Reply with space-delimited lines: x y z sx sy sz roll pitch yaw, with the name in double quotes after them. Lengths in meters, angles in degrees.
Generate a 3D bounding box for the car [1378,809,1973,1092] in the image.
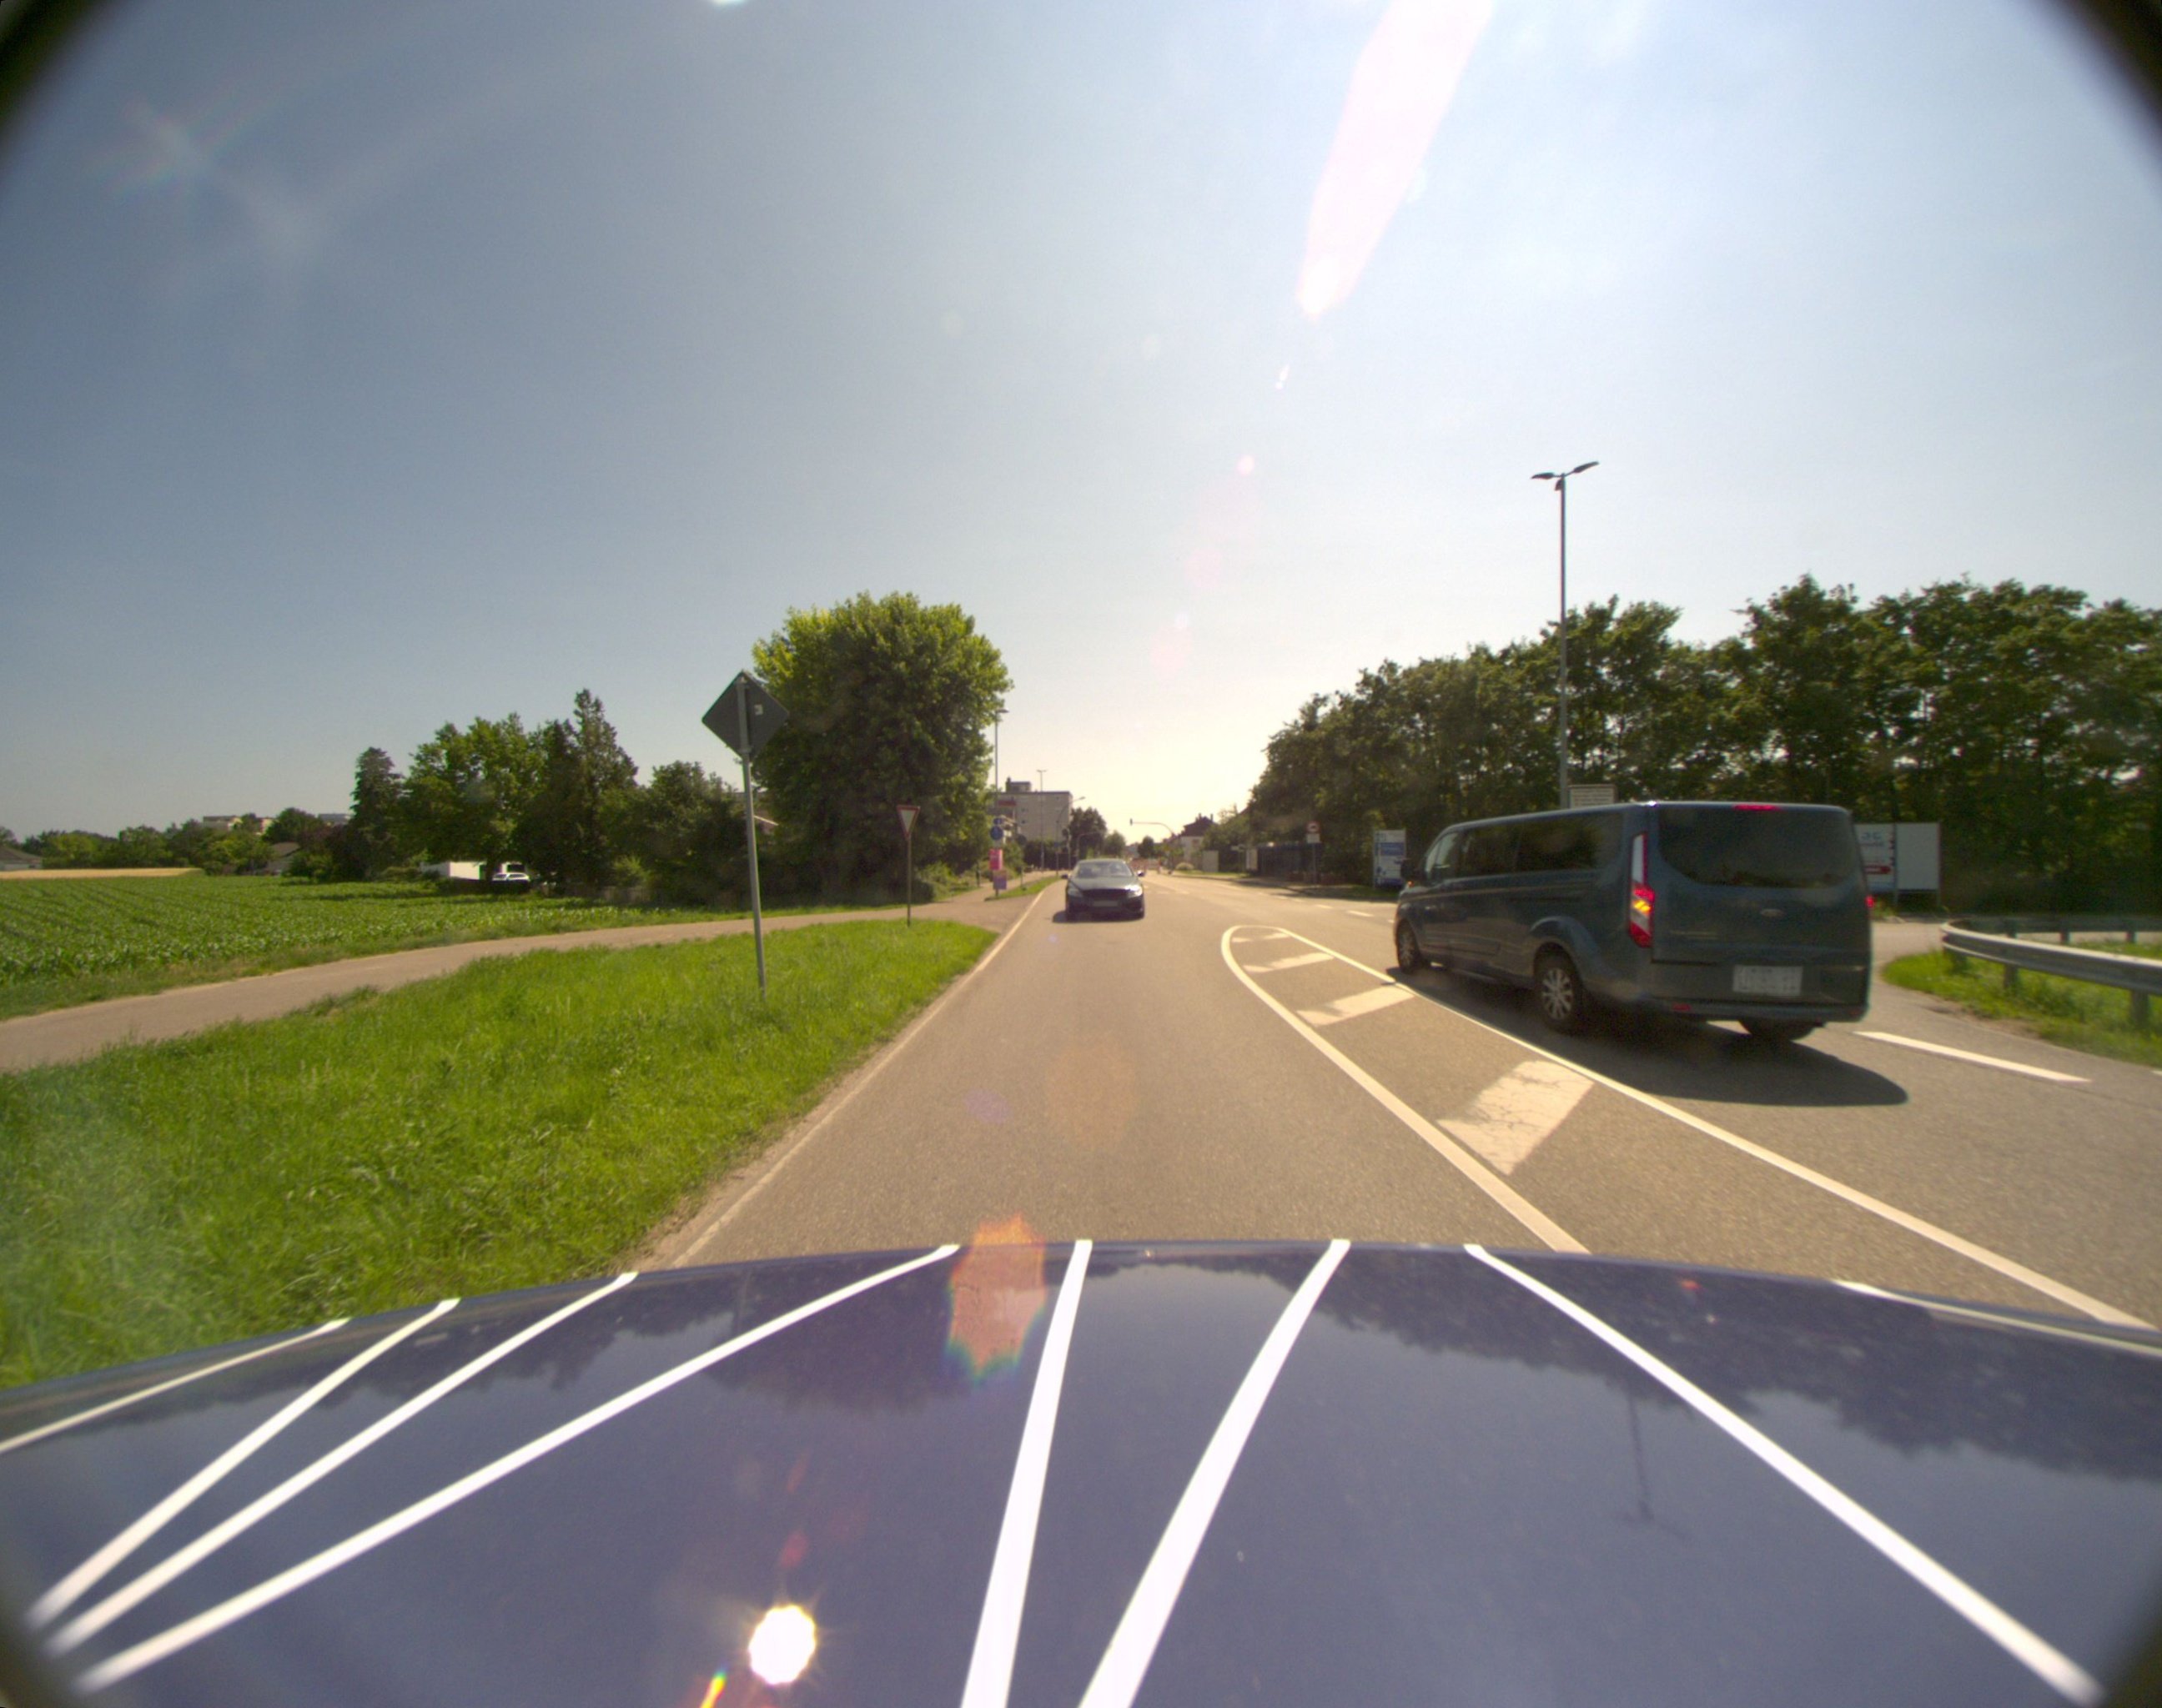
5.138 0.676 7.893 2.149 1.940 5.248 1 0 2 "car"

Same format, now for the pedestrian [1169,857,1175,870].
11.372 1.160 95.193 0.615 1.598 0.688 -3 0 4 "pedestrian"

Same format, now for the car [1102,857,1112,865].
5.080 1.343 146.634 1.872 1.585 4.617 0 0 2 "car"

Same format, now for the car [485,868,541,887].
-51.980 2.131 69.605 1.998 1.608 4.000 -1 0 1 "car"

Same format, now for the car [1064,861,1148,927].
0.568 0.944 19.744 1.889 1.429 4.838 -2 0 0 "car"
